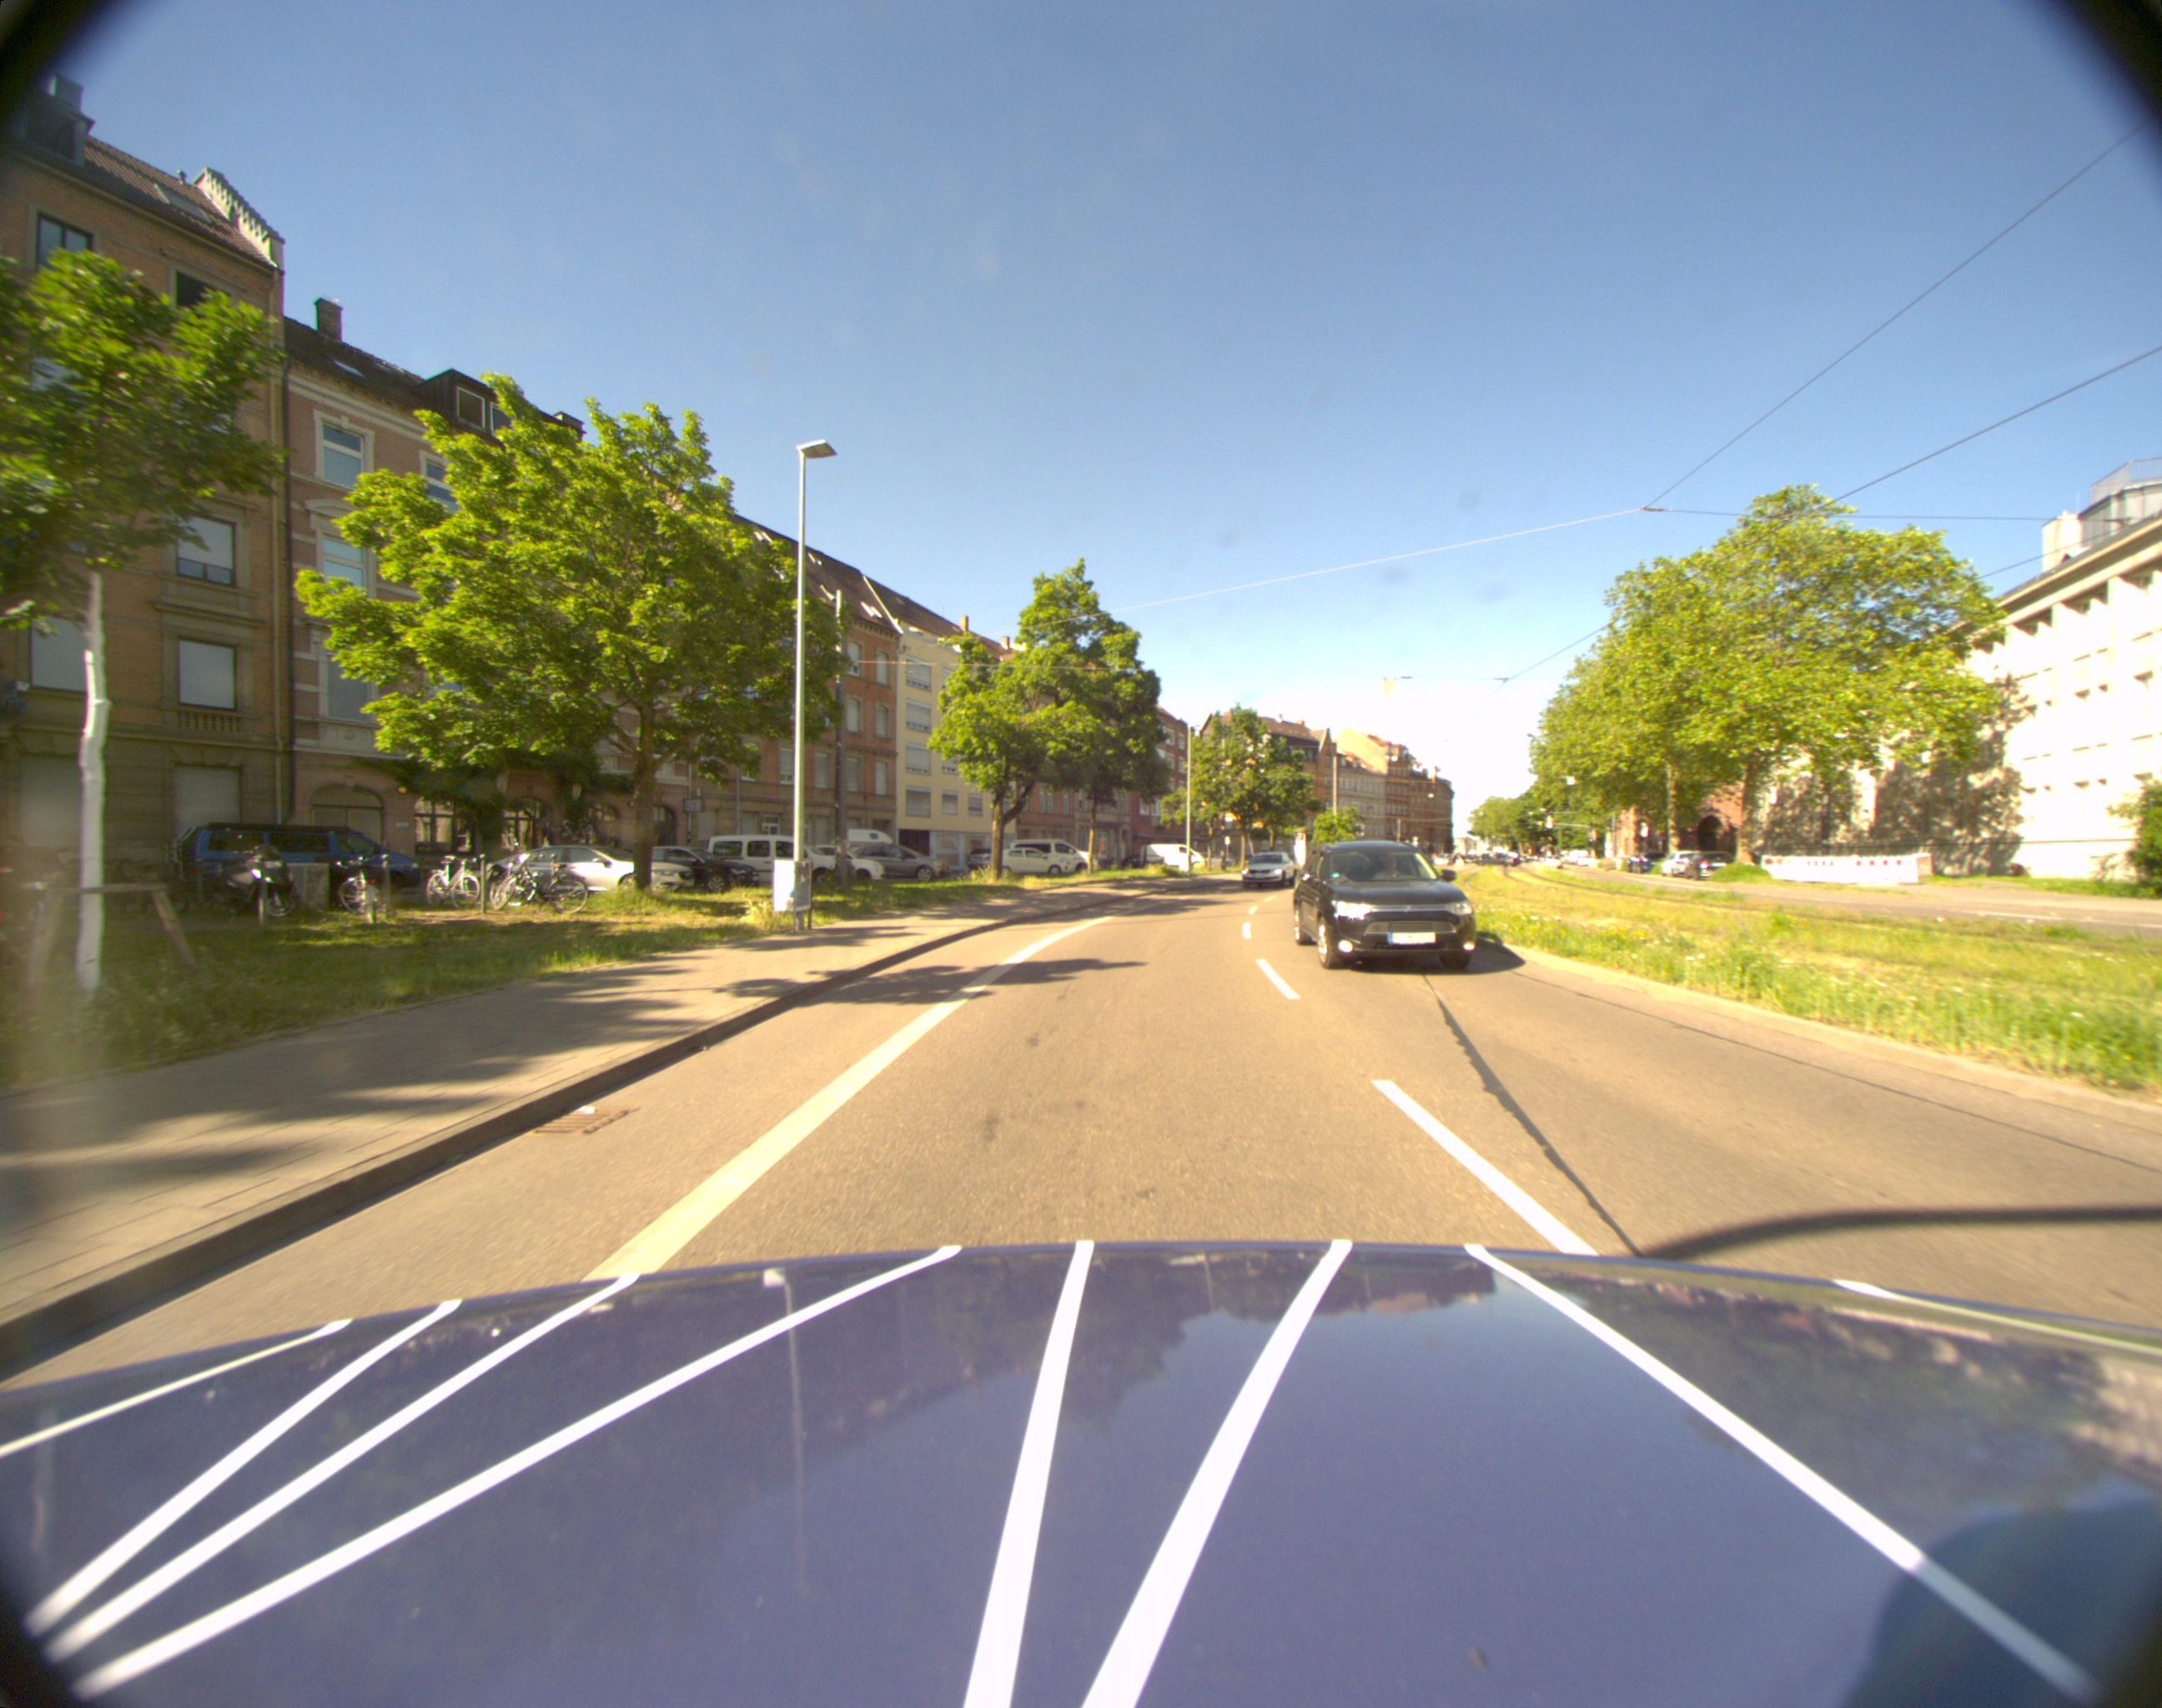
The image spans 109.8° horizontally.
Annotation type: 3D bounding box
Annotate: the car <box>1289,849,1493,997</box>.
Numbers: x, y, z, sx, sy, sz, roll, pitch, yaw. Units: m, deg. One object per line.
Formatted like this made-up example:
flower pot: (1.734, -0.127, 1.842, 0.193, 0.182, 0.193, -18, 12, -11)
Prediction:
car: (4.171, 0.780, 11.029, 1.839, 1.672, 4.646, -1, 0, 11)

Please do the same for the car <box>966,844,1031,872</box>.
car: (-5.497, 0.280, 51.114, 1.994, 1.789, 4.636, 2, 0, 28)

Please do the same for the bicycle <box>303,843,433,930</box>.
bicycle: (-11.880, 0.505, 12.658, 2.095, 1.357, 0.788, 0, 1, 23)

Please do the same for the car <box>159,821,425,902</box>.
car: (-21.597, 0.193, 21.065, 1.994, 1.966, 4.734, 2, 0, 29)

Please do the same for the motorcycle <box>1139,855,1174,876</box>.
motorcycle: (5.394, 0.827, 54.274, 2.264, 1.412, 0.853, 2, 0, -20)

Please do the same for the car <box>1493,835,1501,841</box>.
car: (107.014, -4.169, 195.538, 1.794, 1.421, 4.385, 0, 0, 29)

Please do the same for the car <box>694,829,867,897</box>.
car: (-9.797, 0.263, 25.140, 4.879, 2.001, 2.099, 2, 1, -5)

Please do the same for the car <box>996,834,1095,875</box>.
car: (-1.887, 0.004, 41.488, 5.183, 2.001, 2.100, 2, 1, -1)

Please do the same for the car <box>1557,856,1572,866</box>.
car: (81.365, 1.180, 127.897, 1.791, 1.542, 4.315, 0, 0, 29)

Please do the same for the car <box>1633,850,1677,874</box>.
car: (42.137, 0.553, 55.831, 1.831, 1.629, 4.404, 0, 0, 27)

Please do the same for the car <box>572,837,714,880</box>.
car: (-17.259, 0.175, 30.222, 1.995, 1.520, 4.521, 2, 0, 25)

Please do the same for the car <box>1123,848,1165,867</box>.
car: (5.900, 0.281, 70.902, 1.995, 1.465, 4.498, -5, -1, 32)

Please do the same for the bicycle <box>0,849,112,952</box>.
bicycle: (-15.139, 0.623, 10.930, 2.095, 1.390, 0.788, 0, 1, 18)

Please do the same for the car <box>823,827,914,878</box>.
car: (-11.338, -0.063, 40.886, 1.994, 2.570, 4.522, 2, 0, 30)

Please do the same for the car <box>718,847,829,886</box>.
car: (-14.155, 0.527, 35.246, 1.994, 1.681, 4.522, 0, 0, 30)

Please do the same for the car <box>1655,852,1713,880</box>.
car: (36.374, 0.686, 45.939, 1.831, 1.578, 4.404, 1, 1, 26)

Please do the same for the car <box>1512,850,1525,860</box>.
car: (92.984, 0.235, 161.499, 2.061, 1.880, 4.527, 3, 1, 33)

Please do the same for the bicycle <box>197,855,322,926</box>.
bicycle: (-14.205, 0.593, 13.132, 2.164, 1.151, 0.824, 0, 1, 25)

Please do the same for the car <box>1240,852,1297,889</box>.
car: (8.871, 0.716, 35.637, 1.798, 1.626, 4.401, 0, 1, 25)

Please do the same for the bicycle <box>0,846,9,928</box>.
bicycle: (-18.733, 0.545, 11.994, 2.101, 1.357, 0.786, 0, 1, -12)

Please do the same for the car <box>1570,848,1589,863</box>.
car: (71.718, 0.199, 109.343, 1.917, 2.084, 4.601, 0, 0, 28)

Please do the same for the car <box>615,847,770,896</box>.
car: (-11.386, 0.501, 22.479, 3.613, 1.372, 1.925, 0, 0, -5)

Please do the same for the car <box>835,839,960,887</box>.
car: (-7.339, 0.337, 30.734, 4.510, 1.718, 1.999, 2, 1, -1)

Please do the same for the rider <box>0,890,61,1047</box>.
rider: (-8.833, 0.866, 5.490, 1.680, 1.169, 0.502, 1, 0, -44)

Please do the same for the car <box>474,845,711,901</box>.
car: (-12.511, 0.469, 19.759, 4.751, 1.372, 2.045, 0, 0, -5)

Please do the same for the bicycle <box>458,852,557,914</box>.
bicycle: (-11.922, 0.565, 15.787, 1.945, 1.174, 0.901, 2, 2, 28)

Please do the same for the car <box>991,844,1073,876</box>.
car: (-2.510, 0.294, 38.614, 4.029, 1.470, 1.812, 2, 1, -5)

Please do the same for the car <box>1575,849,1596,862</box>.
car: (66.647, 0.249, 100.344, 1.776, 1.564, 3.685, 1, -2, 25)

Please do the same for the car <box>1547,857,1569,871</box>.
car: (50.692, 1.017, 80.844, 1.830, 1.444, 4.179, 1, 1, 30)

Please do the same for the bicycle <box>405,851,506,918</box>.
bicycle: (-12.308, 0.563, 14.944, 1.958, 1.185, 0.843, 2, 1, 28)

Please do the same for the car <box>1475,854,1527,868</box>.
car: (48.593, 0.826, 88.032, 1.839, 1.444, 4.947, 1, 1, -32)

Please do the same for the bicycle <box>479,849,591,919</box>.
bicycle: (-10.432, 0.561, 14.587, 1.599, 1.282, 0.768, 1, 1, -21)

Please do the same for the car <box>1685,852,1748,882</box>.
car: (33.301, 0.616, 39.914, 1.831, 1.484, 4.189, 0, 0, 30)

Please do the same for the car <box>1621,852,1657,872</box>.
car: (44.624, 0.616, 60.862, 1.673, 1.539, 4.196, 0, 1, 27)

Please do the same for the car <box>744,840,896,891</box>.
car: (-9.529, 0.401, 28.044, 4.877, 1.638, 2.100, 2, 1, -1)

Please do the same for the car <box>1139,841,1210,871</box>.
car: (6.990, 0.171, 57.192, 4.879, 2.063, 2.019, 2, 1, -6)

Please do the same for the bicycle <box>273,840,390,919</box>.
bicycle: (-13.758, 0.437, 13.940, 2.095, 1.357, 0.788, 0, 1, 23)

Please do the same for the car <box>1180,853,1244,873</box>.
car: (10.903, 0.746, 63.582, 4.878, 1.426, 2.020, 2, 0, -4)

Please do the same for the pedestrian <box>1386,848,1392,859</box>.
pedestrian: (51.201, -0.034, 126.401, 0.820, 1.851, 0.705, 0, 1, 19)

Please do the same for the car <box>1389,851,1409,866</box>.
car: (32.334, 0.422, 77.271, 1.886, 1.419, 4.384, 0, 0, 23)
